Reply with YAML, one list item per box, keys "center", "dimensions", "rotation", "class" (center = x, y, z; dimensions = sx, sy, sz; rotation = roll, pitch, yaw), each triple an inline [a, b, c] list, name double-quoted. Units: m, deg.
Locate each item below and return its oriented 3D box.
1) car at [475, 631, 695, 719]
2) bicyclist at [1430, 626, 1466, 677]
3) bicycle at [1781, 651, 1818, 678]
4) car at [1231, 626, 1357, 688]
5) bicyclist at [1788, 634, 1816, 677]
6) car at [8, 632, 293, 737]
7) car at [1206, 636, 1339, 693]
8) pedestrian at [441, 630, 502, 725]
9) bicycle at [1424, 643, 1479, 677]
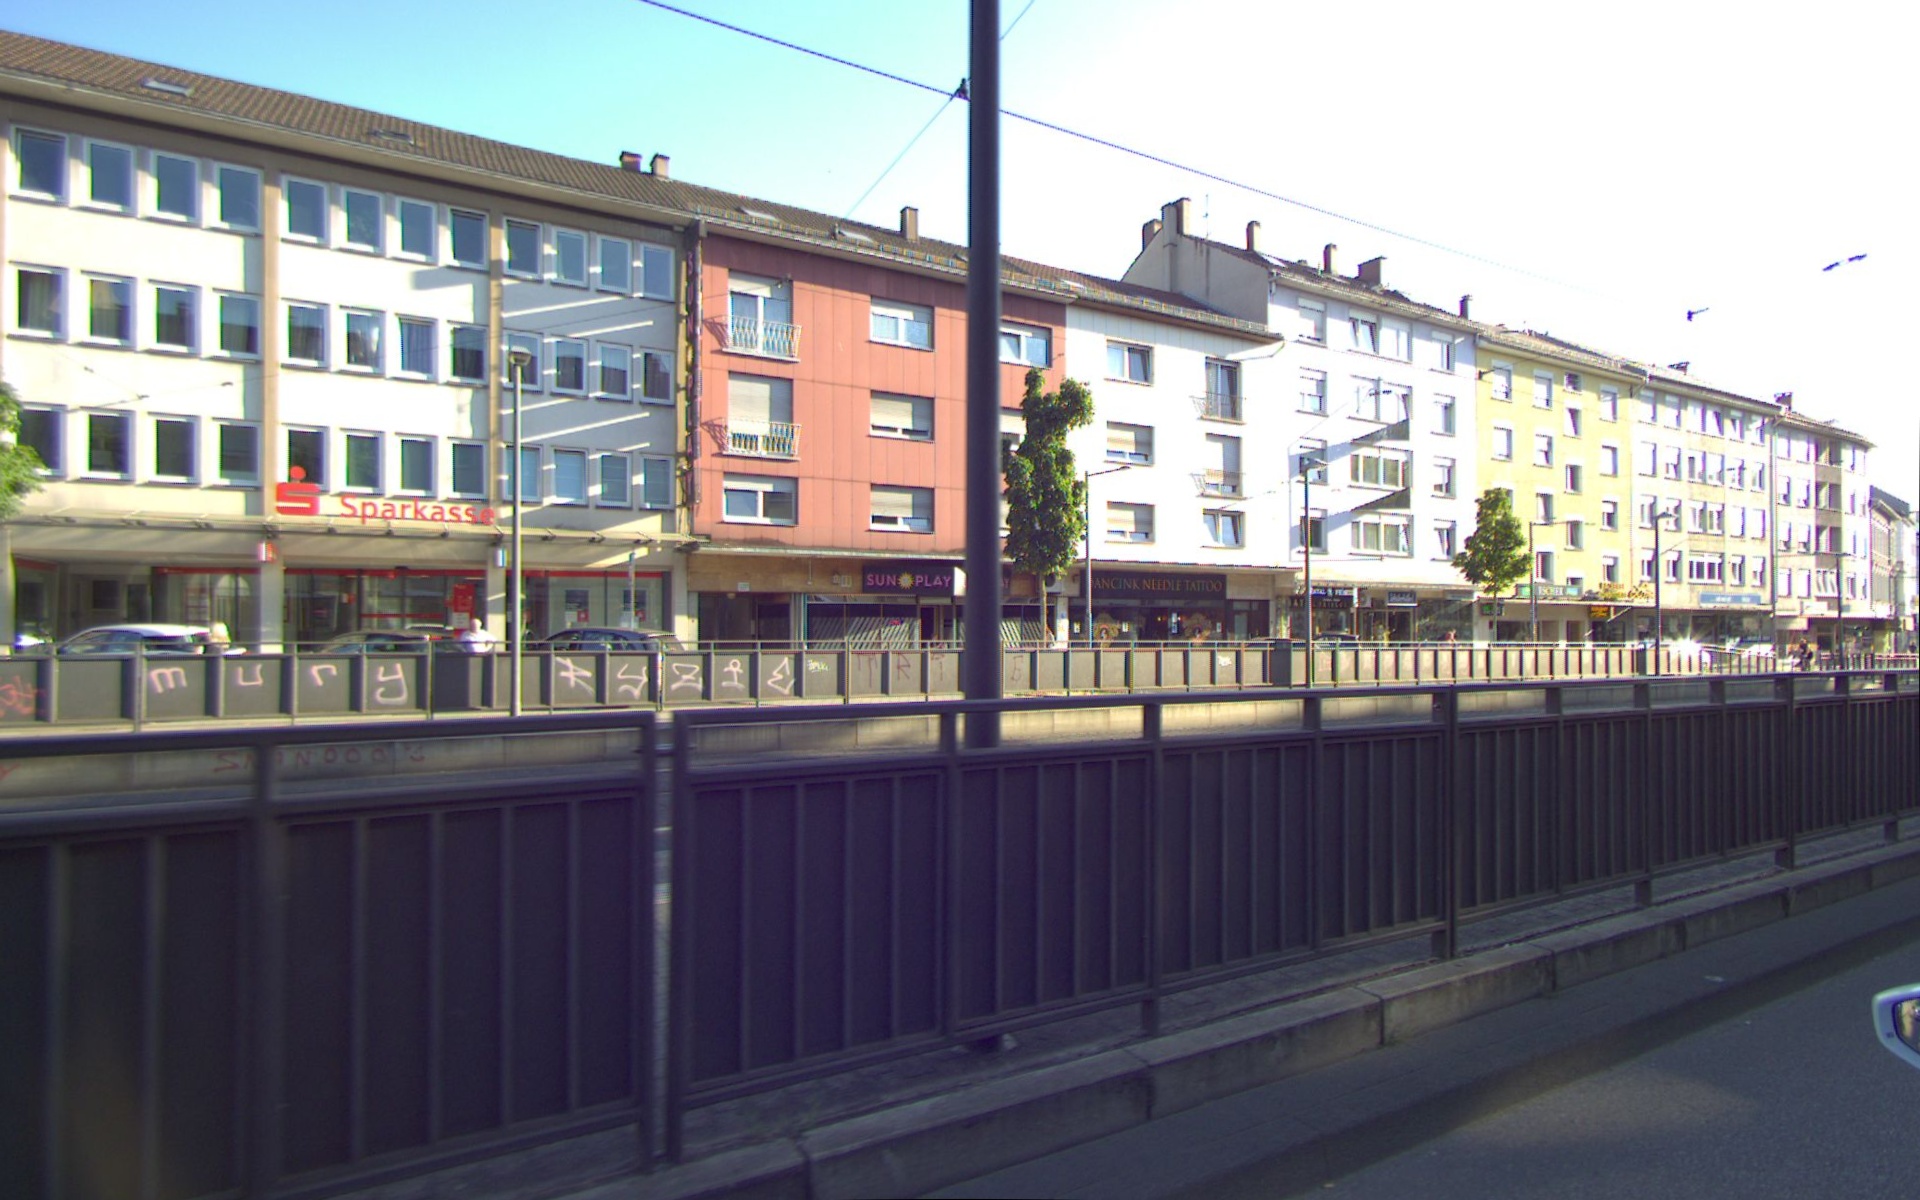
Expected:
- center: [-7.777, 1.505, 20.950]
  dimensions: [3.919, 1.550, 1.871]
  rotation: [2, 0, 14]
  class: "car"
- center: [19.055, 2.009, 39.225]
  dimensions: [1.043, 1.912, 0.690]
  rotation: [-1, 4, -26]
  class: "bicyclist"
- center: [40.330, 3.070, 48.251]
  dimensions: [2.253, 1.246, 0.714]
  rotation: [1, -2, -32]
  class: "bicycle"
- center: [11.220, 1.879, 33.960]
  dimensions: [3.693, 1.823, 1.865]
  rotation: [2, 0, 8]
  class: "car"
- center: [40.543, 2.676, 48.379]
  dimensions: [0.901, 2.040, 0.760]
  rotation: [1, -2, -32]
  class: "bicyclist"
- center: [-13.970, 1.403, 17.408]
  dimensions: [3.919, 1.506, 1.744]
  rotation: [2, 0, 12]
  class: "car"
- center: [9.741, 1.997, 31.580]
  dimensions: [3.693, 1.511, 1.865]
  rotation: [2, 0, 8]
  class: "car"
- center: [-9.757, 1.523, 20.075]
  dimensions: [0.710, 1.812, 0.769]
  rotation: [2, 0, 17]
  class: "pedestrian"
- center: [19.253, 2.335, 39.331]
  dimensions: [2.169, 1.175, 0.703]
  rotation: [0, 4, -26]
  class: "bicycle"
